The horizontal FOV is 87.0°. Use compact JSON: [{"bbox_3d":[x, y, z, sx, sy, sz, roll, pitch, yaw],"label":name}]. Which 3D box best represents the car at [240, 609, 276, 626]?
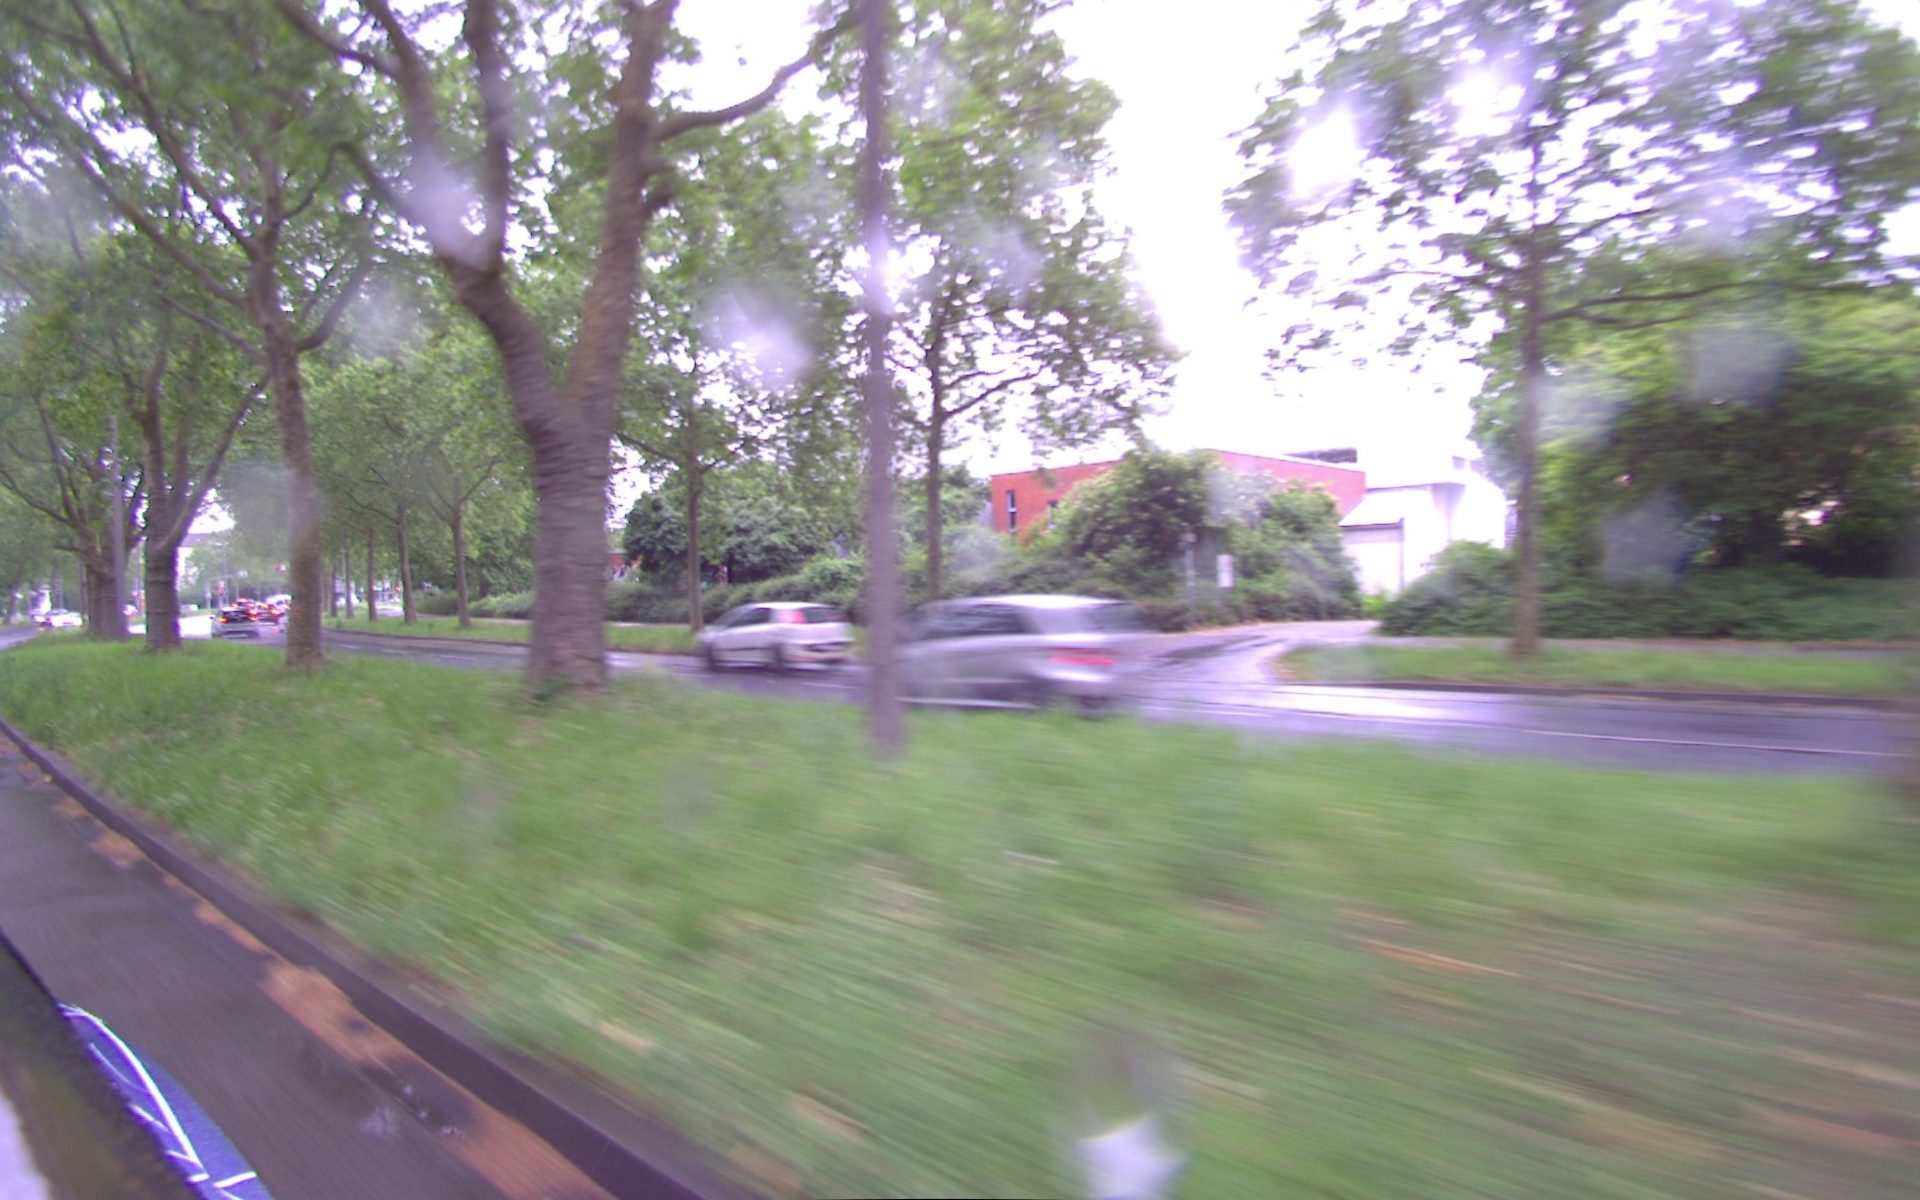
[{"bbox_3d":[-79.364,1.972,114.413,2.002,1.749,4.970,-2,1,-19],"label":"car"}]

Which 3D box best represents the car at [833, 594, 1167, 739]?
[{"bbox_3d":[0.419,0.789,13.656,4.326,1.603,1.726,-1,1,40],"label":"car"}]

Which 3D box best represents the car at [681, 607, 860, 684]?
[{"bbox_3d":[-4.231,0.943,22.272,4.081,1.487,1.725,-1,1,42],"label":"car"}]

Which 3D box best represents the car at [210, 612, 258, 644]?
[{"bbox_3d":[-37.037,1.381,51.562,1.721,1.487,4.418,-3,1,-38],"label":"car"}]

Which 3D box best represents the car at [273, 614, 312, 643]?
[{"bbox_3d":[-37.431,1.583,56.787,1.720,1.470,3.852,-2,1,-33],"label":"car"}]

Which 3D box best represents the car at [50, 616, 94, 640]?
[{"bbox_3d":[-68.416,2.119,78.003,1.967,1.641,4.533,-3,2,-35],"label":"car"}]

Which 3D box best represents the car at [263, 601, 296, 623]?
[{"bbox_3d":[-72.956,1.238,108.565,2.001,2.243,5.452,-2,1,-25],"label":"car"}]

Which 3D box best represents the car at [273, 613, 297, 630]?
[{"bbox_3d":[-76.925,2.427,115.329,1.966,1.643,4.345,-3,2,-30],"label":"car"}]

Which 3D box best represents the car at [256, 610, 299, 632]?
[{"bbox_3d":[-52.784,1.608,78.300,1.719,1.573,4.382,-2,1,-20],"label":"car"}]
